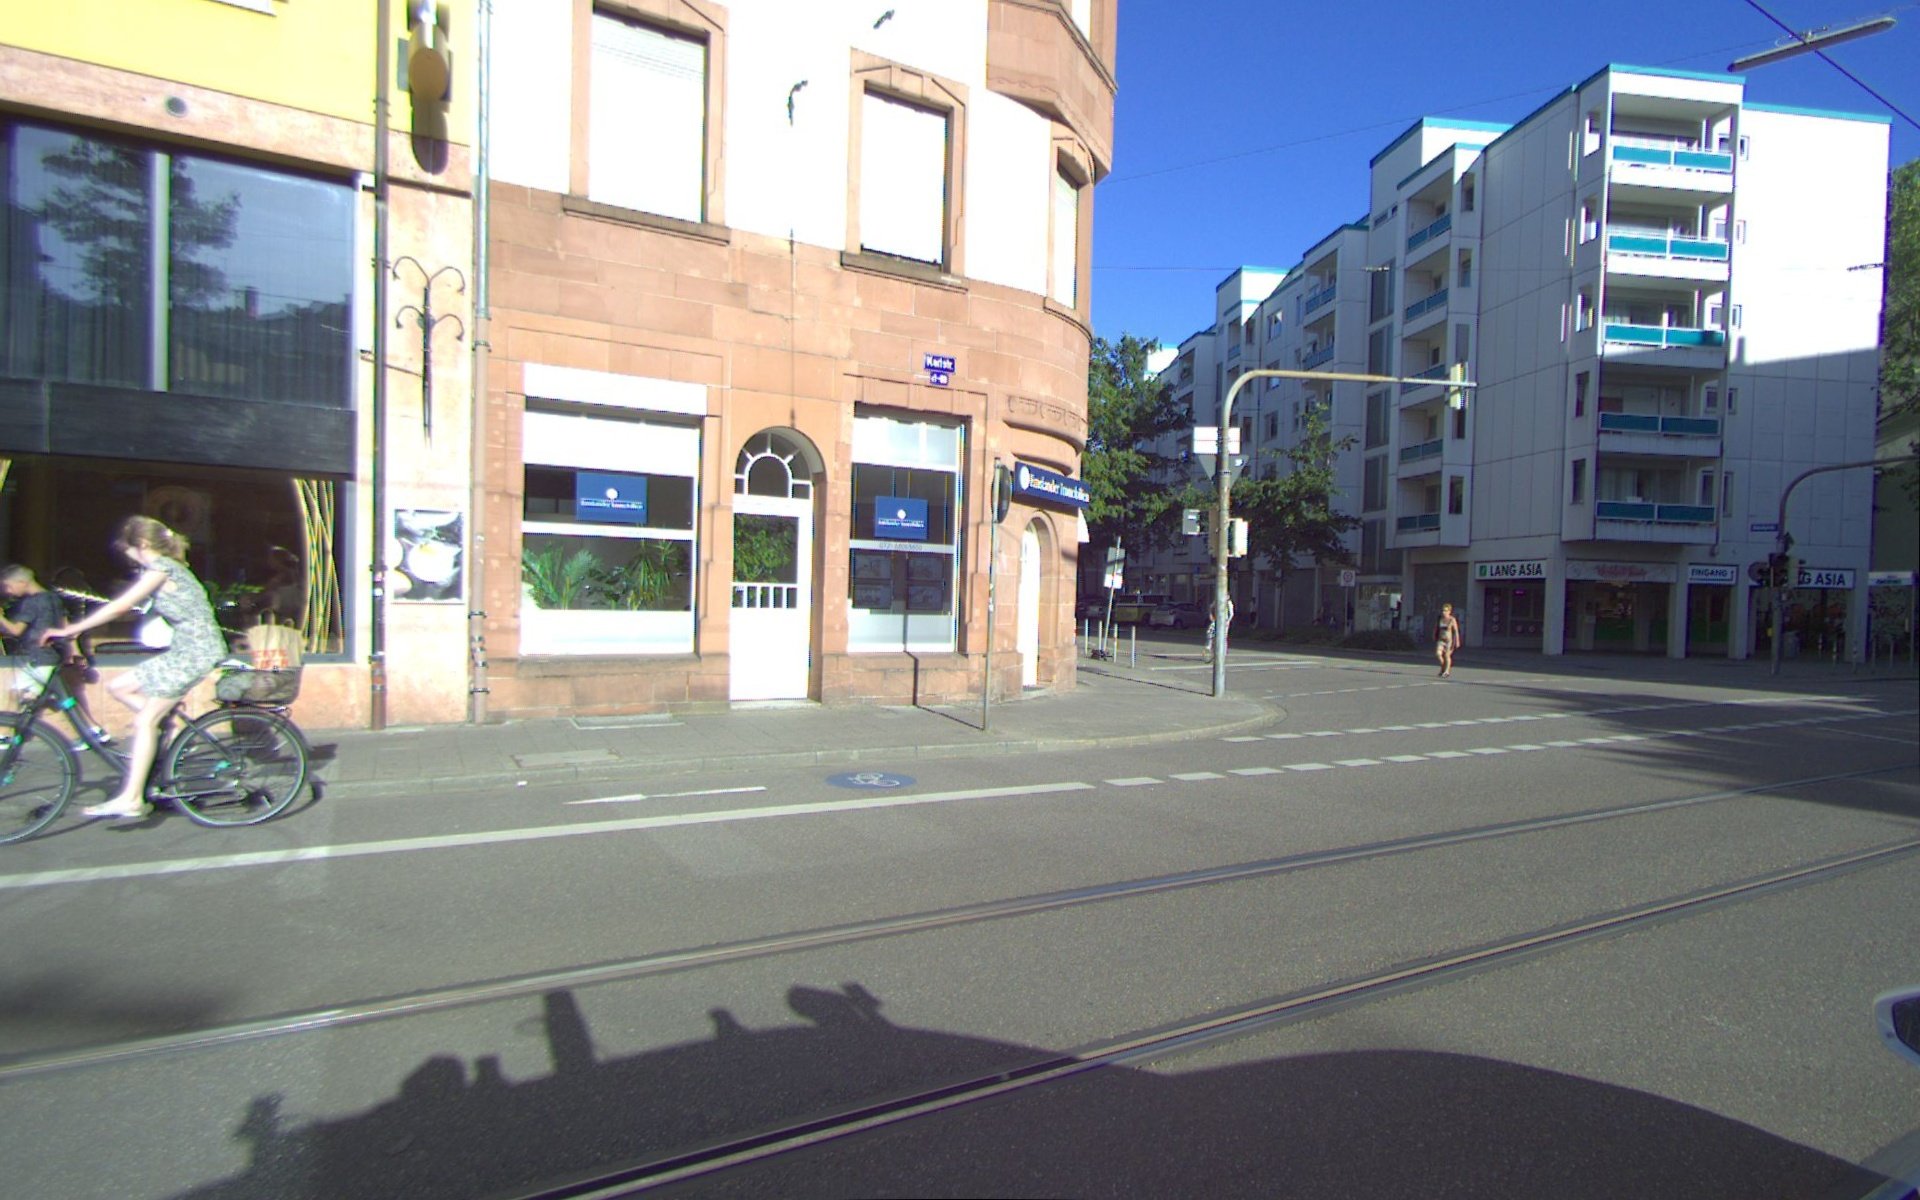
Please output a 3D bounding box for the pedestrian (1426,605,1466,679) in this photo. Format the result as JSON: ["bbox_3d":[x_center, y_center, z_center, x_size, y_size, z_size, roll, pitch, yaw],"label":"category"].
[{"bbox_3d":[10.505,0.901,21.713,0.510,1.573,0.539,1,1,-31],"label":"pedestrian"}]

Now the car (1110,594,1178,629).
[{"bbox_3d":[10.710,0.680,58.361,3.964,1.900,1.588,1,1,-38],"label":"car"}]

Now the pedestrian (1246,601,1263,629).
[{"bbox_3d":[16.270,0.839,55.476,0.703,1.514,0.744,2,1,1],"label":"pedestrian"}]

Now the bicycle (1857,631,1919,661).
[{"bbox_3d":[35.973,1.773,38.881,0.652,1.048,1.921,2,1,-3],"label":"bicycle"}]

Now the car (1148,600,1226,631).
[{"bbox_3d":[11.953,0.789,52.863,3.952,1.506,1.593,0,3,-29],"label":"car"}]

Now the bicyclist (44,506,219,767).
[{"bbox_3d":[-4.735,0.197,5.786,0.671,1.394,0.587,1,1,-31],"label":"bicyclist"}]

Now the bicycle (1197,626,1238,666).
[{"bbox_3d":[6.674,1.163,25.977,0.776,0.921,1.813,2,1,21],"label":"bicycle"}]

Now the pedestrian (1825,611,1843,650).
[{"bbox_3d":[39.392,1.359,45.272,0.541,1.741,0.453,1,1,-31],"label":"pedestrian"}]

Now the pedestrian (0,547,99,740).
[{"bbox_3d":[-7.006,0.321,7.718,0.510,1.429,0.401,1,1,-31],"label":"pedestrian"}]

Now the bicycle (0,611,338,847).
[{"bbox_3d":[-4.777,0.682,5.745,2.038,1.199,0.727,1,1,-32],"label":"bicycle"}]

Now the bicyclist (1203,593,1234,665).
[{"bbox_3d":[6.656,0.728,25.833,0.603,1.787,0.974,2,1,21],"label":"bicyclist"}]
